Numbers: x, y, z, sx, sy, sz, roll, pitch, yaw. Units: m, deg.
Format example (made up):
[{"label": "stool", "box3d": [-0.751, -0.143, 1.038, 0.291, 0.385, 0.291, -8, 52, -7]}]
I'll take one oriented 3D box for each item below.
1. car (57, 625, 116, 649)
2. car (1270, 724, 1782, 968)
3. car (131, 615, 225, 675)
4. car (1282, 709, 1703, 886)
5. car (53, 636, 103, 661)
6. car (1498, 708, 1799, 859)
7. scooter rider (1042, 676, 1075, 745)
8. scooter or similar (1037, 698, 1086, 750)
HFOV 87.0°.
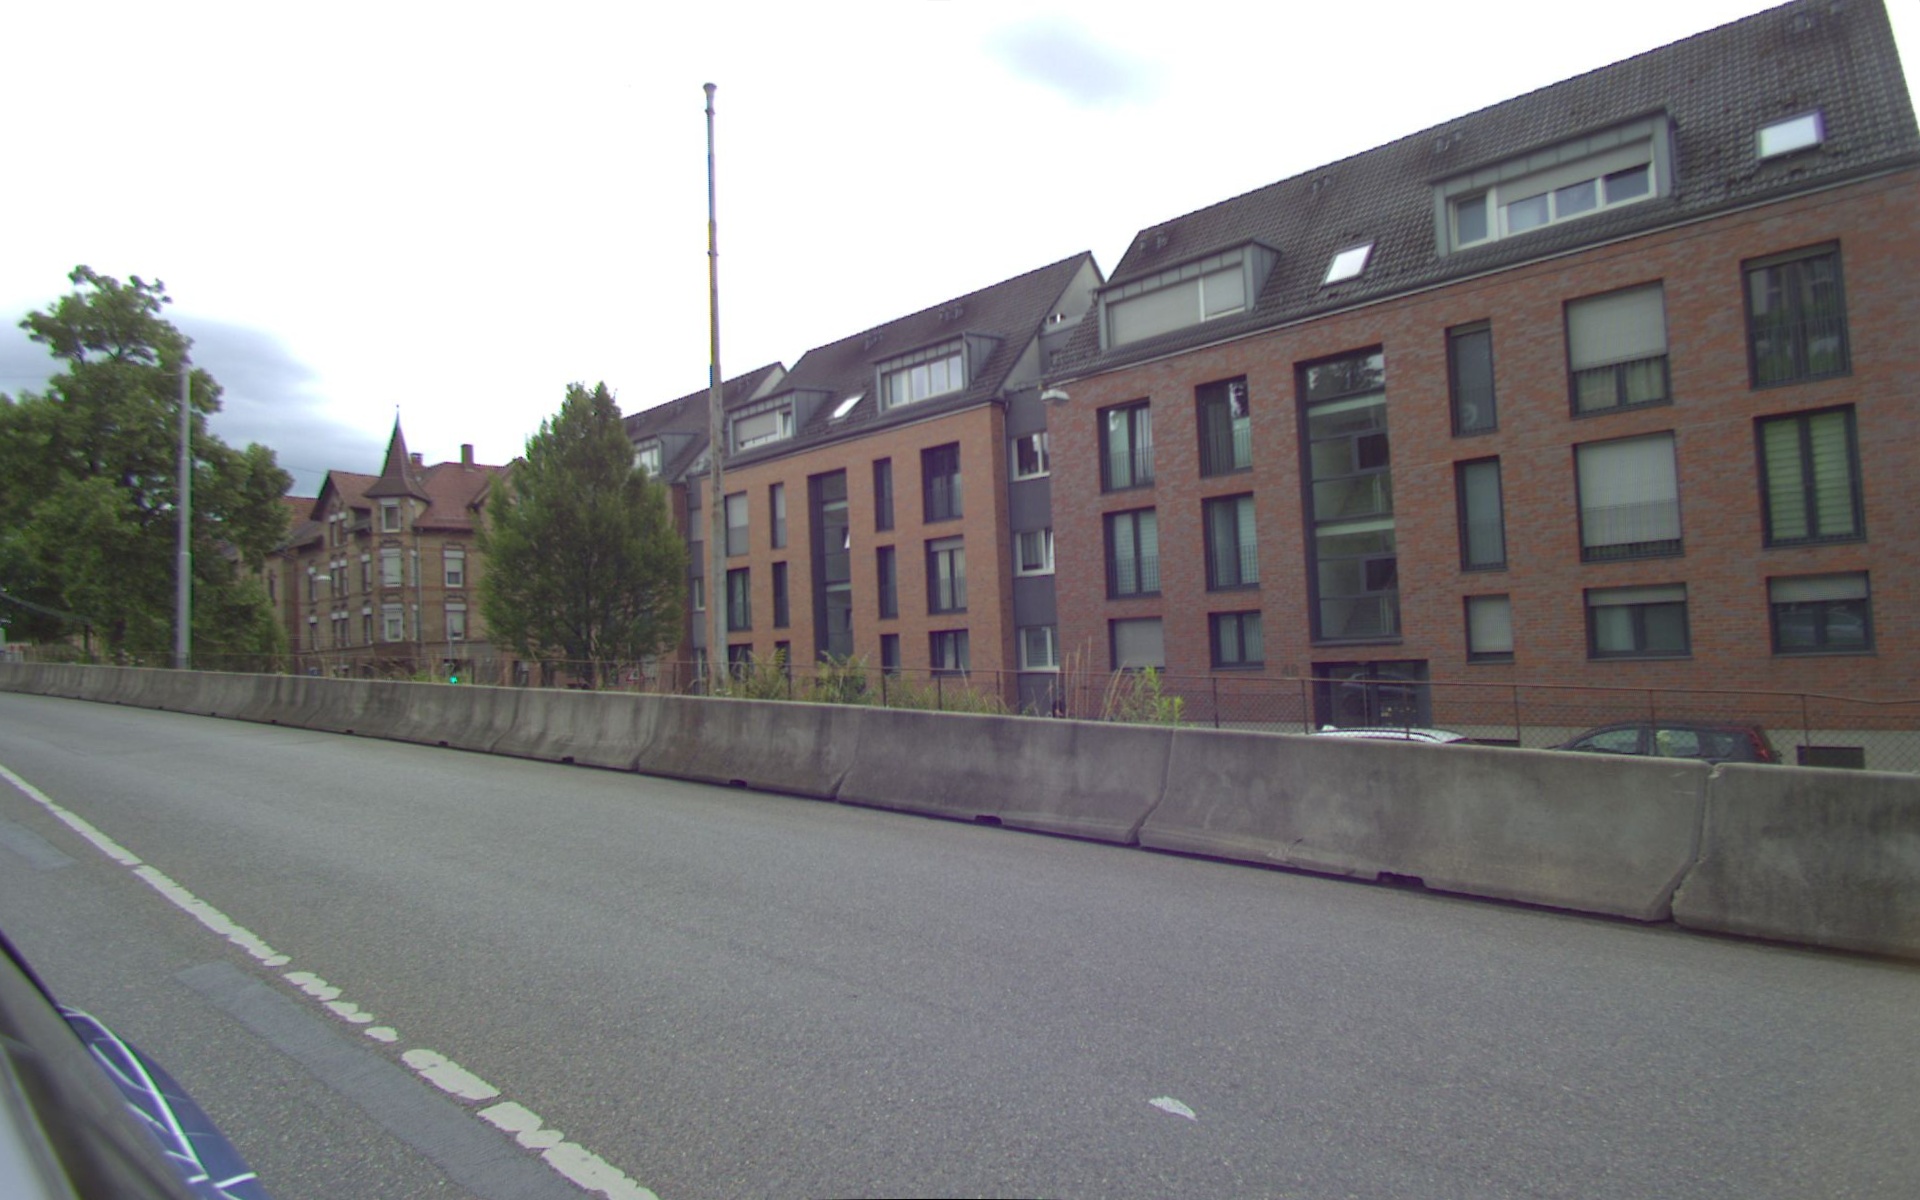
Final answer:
[{"label": "car", "box3d": [-51.010, 2.171, 59.100, 3.997, 1.364, 1.973, -2, -3, 40]}, {"label": "car", "box3d": [5.184, 2.108, 9.603, 3.995, 1.525, 1.519, -2, -1, 39]}, {"label": "car", "box3d": [-36.705, 2.016, 47.423, 5.735, 2.601, 2.531, -1, 0, 43]}, {"label": "car", "box3d": [6.618, 2.327, 12.885, 4.421, 1.525, 1.809, -2, -1, 41]}, {"label": "car", "box3d": [-59.610, 3.241, 68.391, 3.997, 1.564, 1.973, -2, -1, 40]}, {"label": "car", "box3d": [10.878, 2.790, 16.131, 3.765, 1.815, 1.696, -2, -1, 41]}, {"label": "scooter rider", "box3d": [2.537, 2.837, 26.094, 0.577, 1.718, 0.482, -5, -3, 41]}, {"label": "scooter or similar", "box3d": [2.617, 3.183, 26.063, 1.226, 1.251, 0.374, -4, -2, 42]}]
